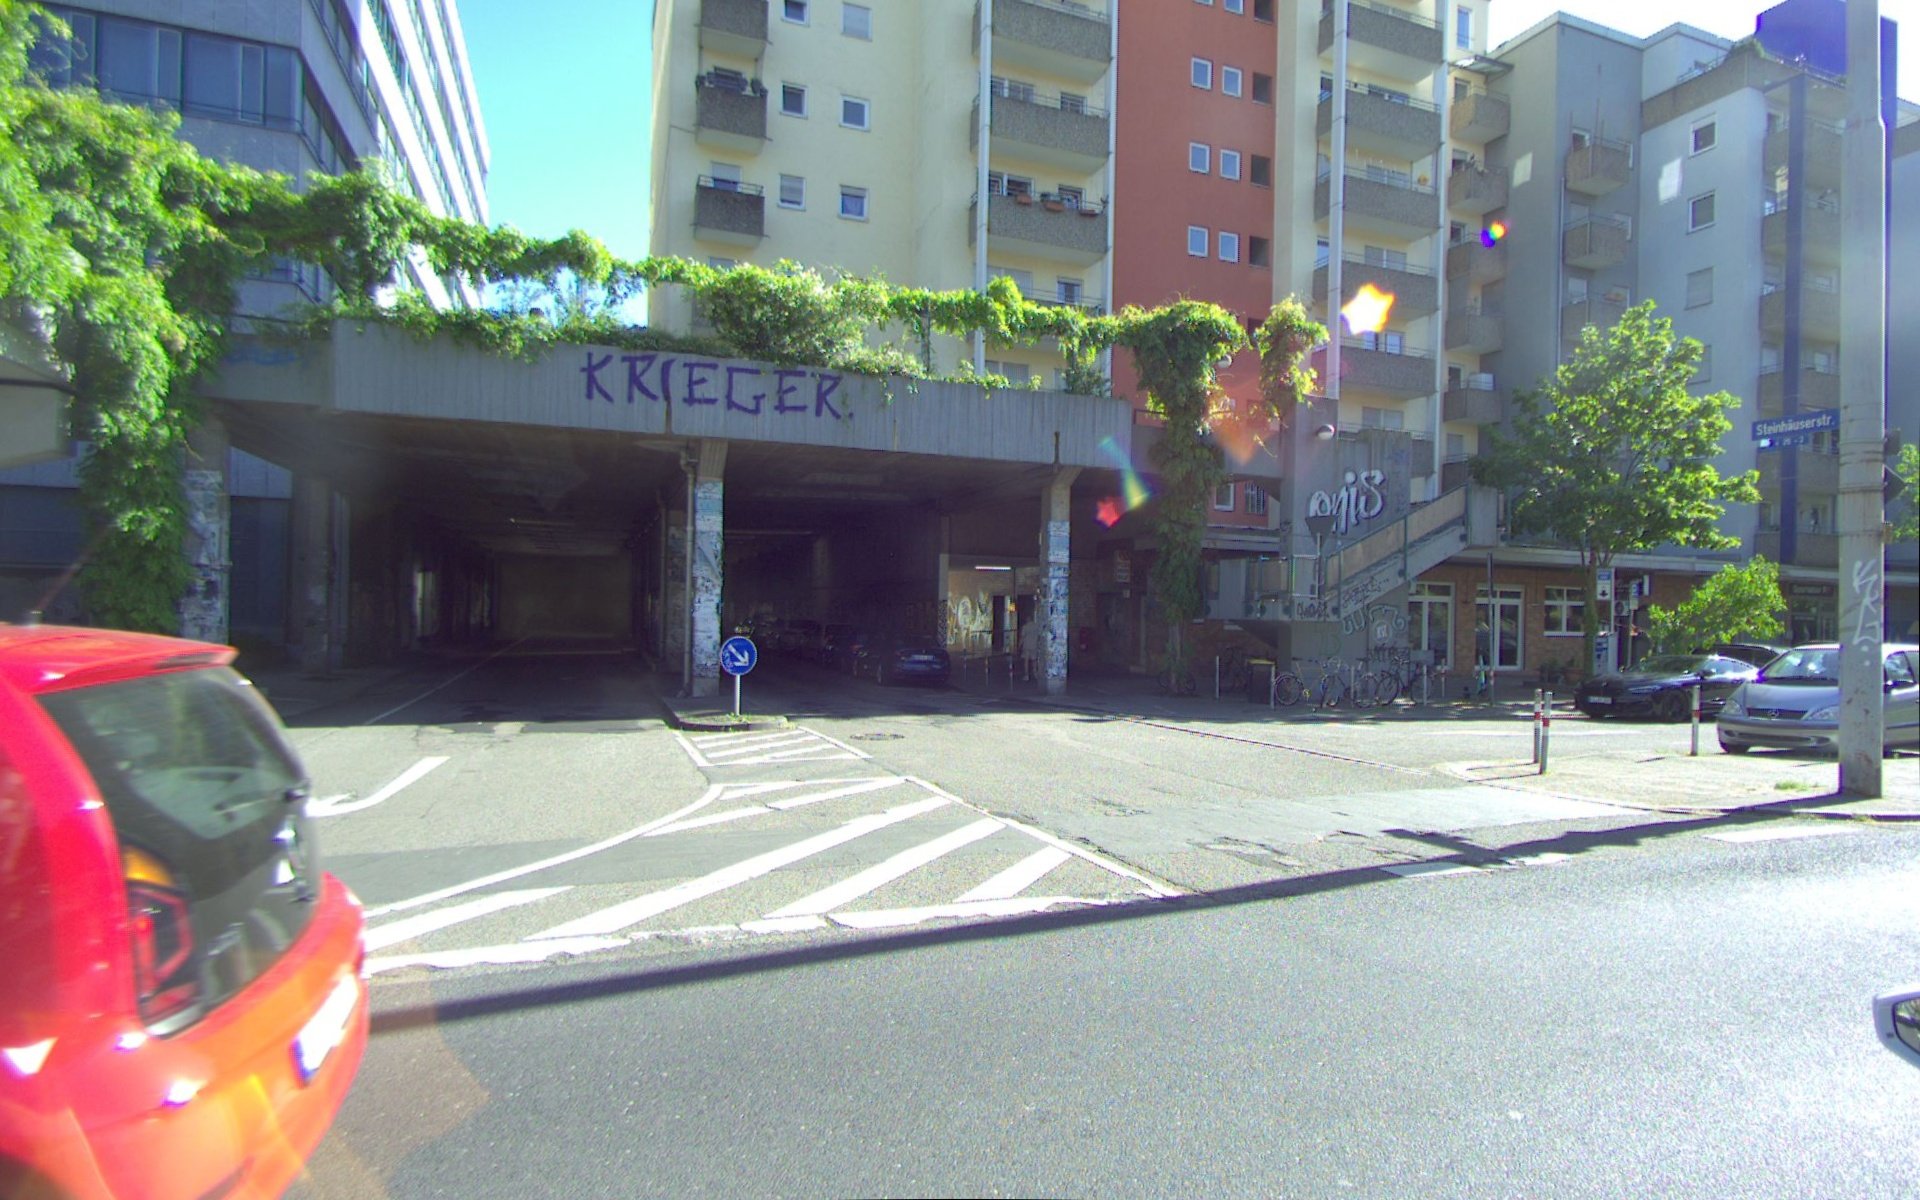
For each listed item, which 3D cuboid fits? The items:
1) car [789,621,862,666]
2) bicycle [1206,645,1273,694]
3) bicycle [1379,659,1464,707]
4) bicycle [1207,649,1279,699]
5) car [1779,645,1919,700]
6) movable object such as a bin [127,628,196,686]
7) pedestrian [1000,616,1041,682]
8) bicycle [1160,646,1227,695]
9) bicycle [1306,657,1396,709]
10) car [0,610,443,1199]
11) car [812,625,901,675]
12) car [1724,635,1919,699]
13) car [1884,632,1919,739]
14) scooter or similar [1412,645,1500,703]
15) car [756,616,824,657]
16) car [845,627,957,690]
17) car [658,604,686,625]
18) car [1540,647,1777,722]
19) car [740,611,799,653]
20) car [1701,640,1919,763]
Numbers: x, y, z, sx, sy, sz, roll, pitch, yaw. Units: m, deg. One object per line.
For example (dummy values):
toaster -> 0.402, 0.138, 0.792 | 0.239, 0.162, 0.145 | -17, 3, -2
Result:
car -> -4.880, 1.548, 36.179 | 1.587, 1.507, 3.615 | 1, -1, -25
bicycle -> 6.676, 1.650, 24.084 | 0.410, 1.014, 1.788 | 0, 1, -28
bicycle -> 10.271, 1.837, 22.358 | 1.770, 1.014, 0.414 | 1, 2, -12
bicycle -> 6.508, 1.682, 23.159 | 0.412, 1.014, 1.596 | 0, 2, -43
car -> 27.274, 2.125, 30.072 | 1.664, 1.443, 3.976 | 2, -1, -24
movable object such as a bin -> -13.059, 0.922, 16.449 | 0.709, 0.917, 0.638 | 1, -1, -23
pedestrian -> 1.633, 1.324, 27.184 | 0.785, 1.722, 0.753 | 2, 2, -22
bicycle -> 5.465, 1.630, 23.600 | 0.478, 1.014, 1.788 | 0, 0, -29
bicycle -> 8.435, 1.791, 21.685 | 1.768, 1.045, 0.415 | 1, 2, -5
car -> -2.964, 0.726, 1.776 | 3.456, 1.447, 1.648 | 1, -1, -22
car -> -3.349, 1.542, 31.840 | 1.741, 1.429, 4.042 | 1, -1, -22
car -> 24.910, 1.886, 29.179 | 1.816, 1.629, 3.976 | 2, -1, -24
car -> 17.075, 1.364, 15.879 | 4.437, 1.649, 1.865 | 1, -2, -21
scooter or similar -> 11.976, 1.758, 24.321 | 0.622, 1.294, 1.960 | 1, -1, -26
car -> -6.858, 1.433, 40.193 | 1.711, 1.566, 4.131 | 1, -1, -24
car -> -1.712, 1.539, 27.329 | 1.829, 1.451, 4.587 | 3, -2, -19
car -> -22.305, 1.102, 77.620 | 1.804, 1.521, 4.192 | 1, -1, -20
car -> 14.748, 1.749, 21.235 | 4.460, 1.416, 1.889 | 1, -2, -19
car -> -8.646, 1.416, 45.320 | 1.832, 1.688, 4.349 | 2, 0, -21
car -> 12.440, 1.356, 14.187 | 3.483, 1.538, 1.715 | 2, -2, -24
